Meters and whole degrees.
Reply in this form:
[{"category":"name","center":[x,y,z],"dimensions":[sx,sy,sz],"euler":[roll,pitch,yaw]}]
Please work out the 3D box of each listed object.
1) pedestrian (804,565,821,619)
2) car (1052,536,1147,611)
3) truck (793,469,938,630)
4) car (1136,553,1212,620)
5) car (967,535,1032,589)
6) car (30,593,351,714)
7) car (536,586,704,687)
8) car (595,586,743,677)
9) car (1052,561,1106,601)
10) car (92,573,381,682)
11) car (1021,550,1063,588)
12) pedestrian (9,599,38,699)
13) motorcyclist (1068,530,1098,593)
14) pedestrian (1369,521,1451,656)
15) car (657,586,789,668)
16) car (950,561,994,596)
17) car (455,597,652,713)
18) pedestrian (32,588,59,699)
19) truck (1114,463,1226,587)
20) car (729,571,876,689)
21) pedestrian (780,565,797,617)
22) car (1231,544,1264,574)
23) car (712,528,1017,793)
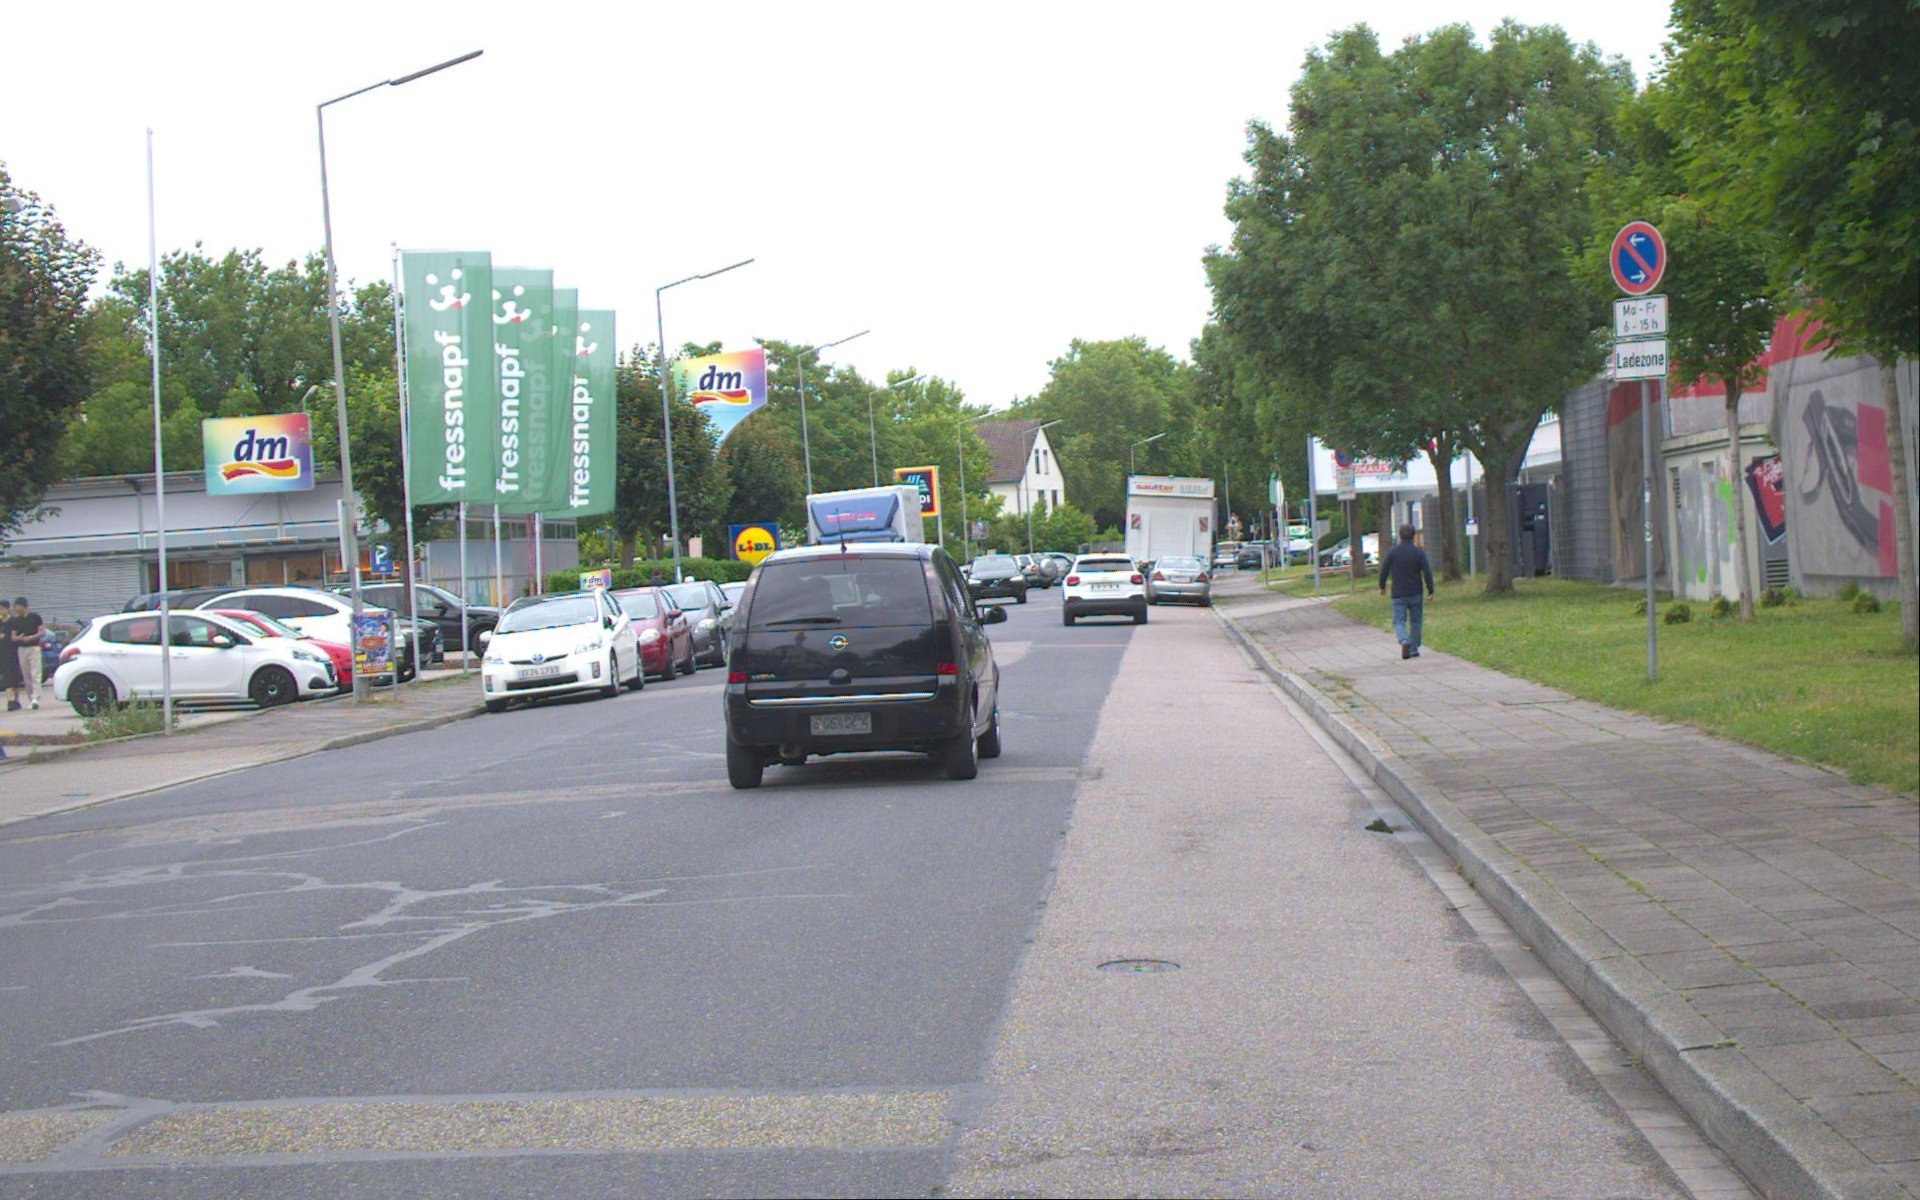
[{"category":"pedestrian","center":[-4.297,-0.230,100.051],"dimensions":[0.401,1.526,0.485],"euler":[-3,1,-2]},{"category":"car","center":[3.026,-0.580,73.884],"dimensions":[1.887,1.526,4.253],"euler":[-1,1,4]},{"category":"truck","center":[-2.475,-1.363,92.504],"dimensions":[2.974,3.942,6.404],"euler":[-4,1,4]},{"category":"car","center":[6.014,-0.372,97.107],"dimensions":[1.994,1.800,4.000],"euler":[-2,0,2]},{"category":"car","center":[1.313,-1.235,113.339],"dimensions":[1.994,1.678,4.000],"euler":[-2,0,2]},{"category":"car","center":[-11.042,0.753,49.570],"dimensions":[4.202,1.458,1.953],"euler":[-3,1,-4]},{"category":"car","center":[-5.241,0.543,53.473],"dimensions":[1.898,1.362,4.000],"euler":[-3,1,4]},{"category":"car","center":[-4.948,0.517,58.958],"dimensions":[1.898,1.362,4.000],"euler":[-3,1,4]},{"category":"car","center":[4.638,-0.753,133.545],"dimensions":[1.938,1.362,4.000],"euler":[-4,1,3]},{"category":"car","center":[-11.437,0.421,54.543],"dimensions":[4.135,1.458,1.899],"euler":[-3,1,-2]},{"category":"car","center":[3.820,-1.442,159.894],"dimensions":[1.870,1.656,4.000],"euler":[-3,1,2]},{"category":"pedestrian","center":[-14.776,0.767,54.233],"dimensions":[0.330,1.565,0.504],"euler":[-2,1,-8]},{"category":"motorcyclist","center":[3.095,-0.965,86.410],"dimensions":[0.625,1.548,0.604],"euler":[-3,0,6]},{"category":"pedestrian","center":[5.544,-0.143,42.388],"dimensions":[0.919,1.629,0.852],"euler":[-2,0,6]},{"category":"car","center":[-4.447,0.482,64.982],"dimensions":[1.898,1.362,4.000],"euler":[-3,1,4]},{"category":"car","center":[0.504,-0.894,141.712],"dimensions":[1.623,1.370,3.452],"euler":[-2,0,3]},{"category":"car","center":[-5.496,0.721,46.949],"dimensions":[1.898,1.362,4.000],"euler":[-3,1,4]},{"category":"pedestrian","center":[-14.370,0.673,54.012],"dimensions":[0.262,1.724,0.422],"euler":[-3,0,-9]},{"category":"truck","center":[6.403,-2.222,106.222],"dimensions":[3.135,3.572,10.050],"euler":[-2,0,2]},{"category":"car","center":[-2.222,0.403,49.387],"dimensions":[1.599,1.523,3.527],"euler":[-5,0,4]},{"category":"pedestrian","center":[-5.148,-0.277,103.114],"dimensions":[0.401,1.526,0.485],"euler":[-3,1,-3]},{"category":"car","center":[16.757,-2.418,200.575],"dimensions":[1.887,1.677,4.253],"euler":[-1,1,4]},{"category":"car","center":[-0.590,0.367,24.148],"dimensions":[1.681,1.626,3.758],"euler":[-3,1,4]}]
